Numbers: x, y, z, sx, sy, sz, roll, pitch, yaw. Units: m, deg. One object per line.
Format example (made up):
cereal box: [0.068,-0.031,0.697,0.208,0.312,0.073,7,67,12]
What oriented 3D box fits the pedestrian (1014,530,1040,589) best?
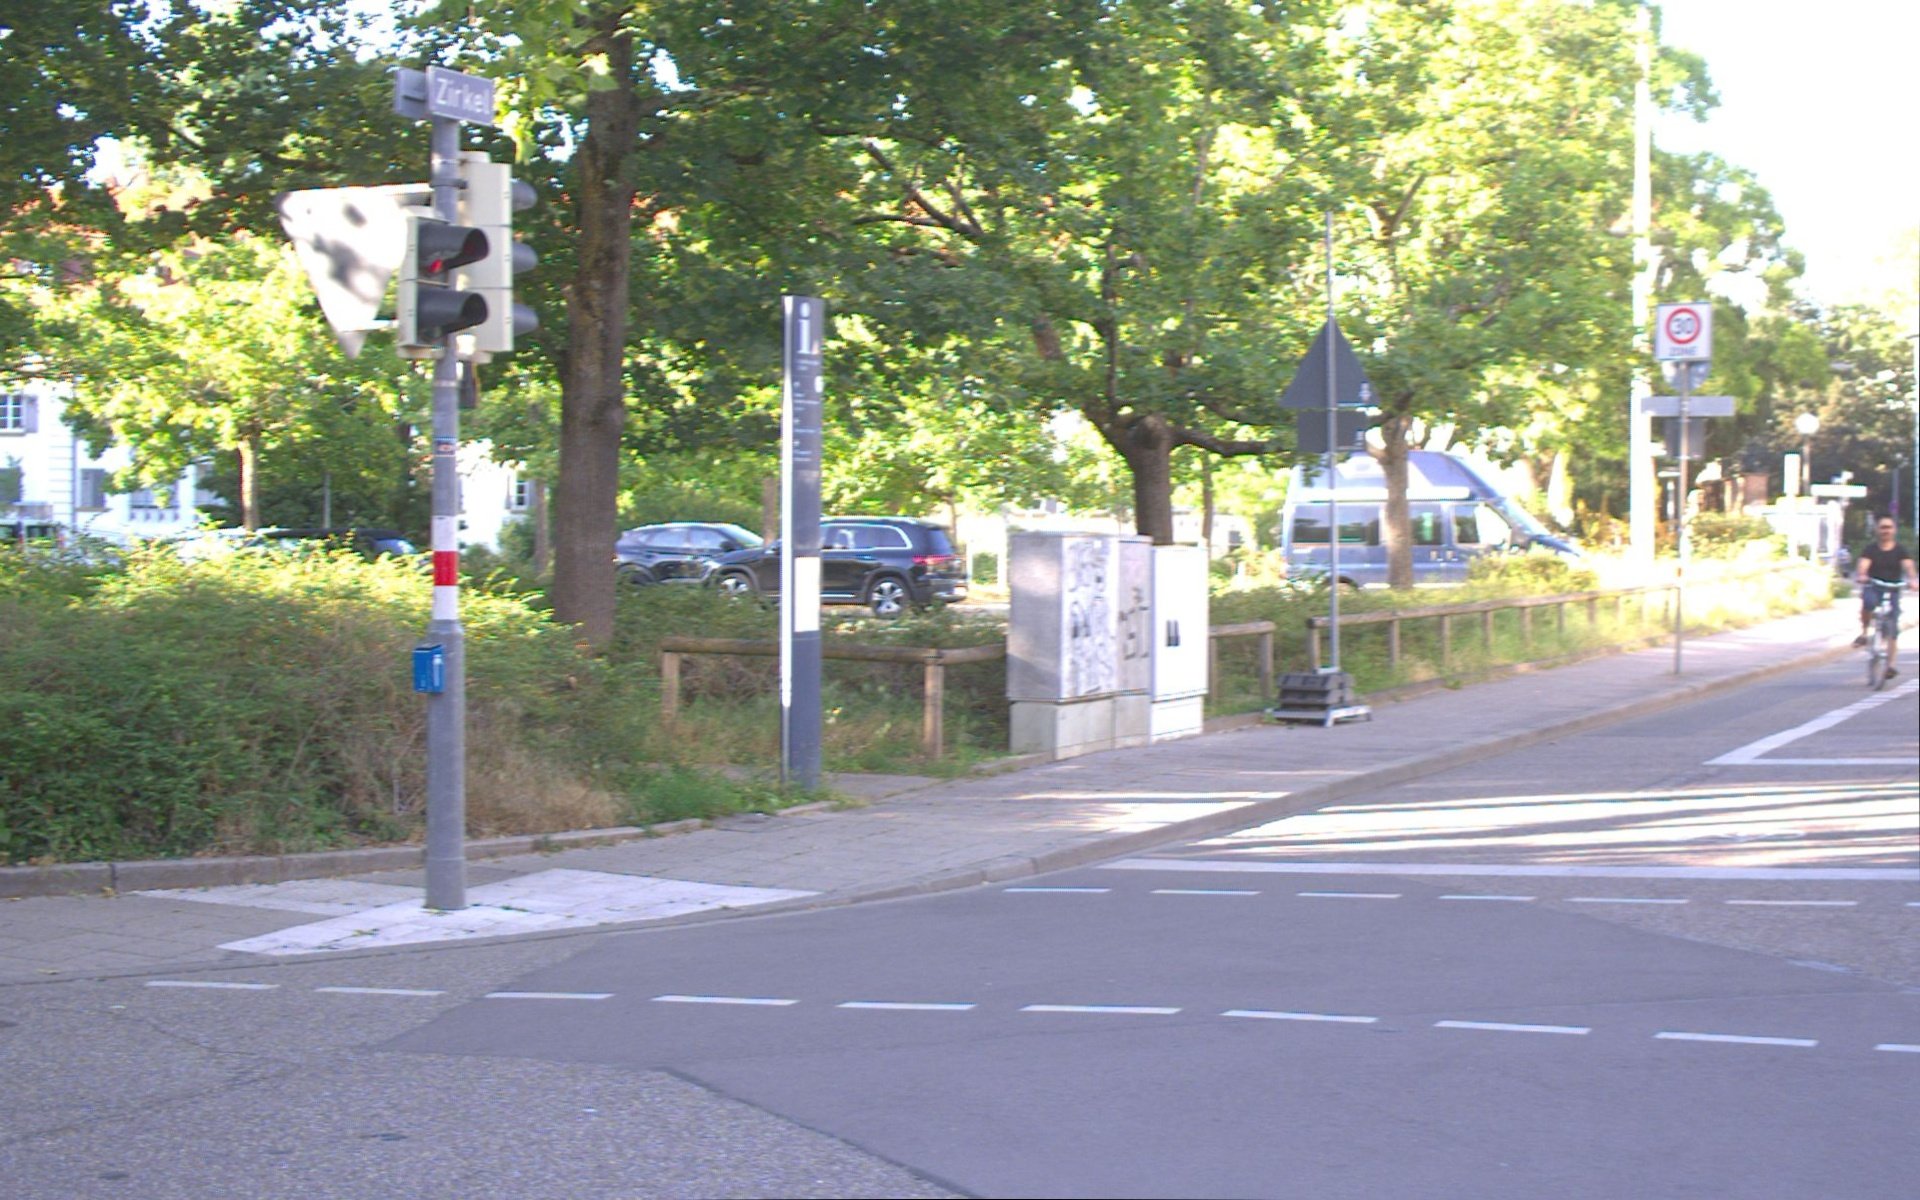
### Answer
pedestrian: [1.500,-0.904,76.883,0.558,1.319,0.577,0,1,4]

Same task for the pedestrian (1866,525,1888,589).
pedestrian: [23.983,-1.131,89.919,0.545,1.671,0.475,0,1,14]

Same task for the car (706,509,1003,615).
car: [-1.773,-0.636,57.865,4.560,1.724,2.072,0,0,22]

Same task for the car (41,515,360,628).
car: [-12.037,-0.450,54.515,4.560,1.724,2.072,0,0,22]

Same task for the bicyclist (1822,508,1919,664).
bicyclist: [9.098,-0.138,34.248,0.866,1.510,1.018,-2,0,20]

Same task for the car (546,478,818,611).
car: [-5.134,-1.006,63.551,4.560,2.383,2.072,0,0,22]

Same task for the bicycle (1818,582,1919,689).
bicycle: [9.171,0.337,34.445,0.866,1.006,2.412,-2,0,19]

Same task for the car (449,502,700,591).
car: [-7.720,-1.054,68.848,4.560,1.724,2.072,0,0,22]

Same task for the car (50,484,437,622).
car: [-9.326,-0.602,44.776,4.560,1.724,2.072,0,0,22]

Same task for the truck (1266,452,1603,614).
truck: [7.435,-1.081,53.835,4.834,2.391,2.085,2,2,21]

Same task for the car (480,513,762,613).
car: [-6.048,-0.654,61.328,4.560,1.724,2.072,0,0,22]
